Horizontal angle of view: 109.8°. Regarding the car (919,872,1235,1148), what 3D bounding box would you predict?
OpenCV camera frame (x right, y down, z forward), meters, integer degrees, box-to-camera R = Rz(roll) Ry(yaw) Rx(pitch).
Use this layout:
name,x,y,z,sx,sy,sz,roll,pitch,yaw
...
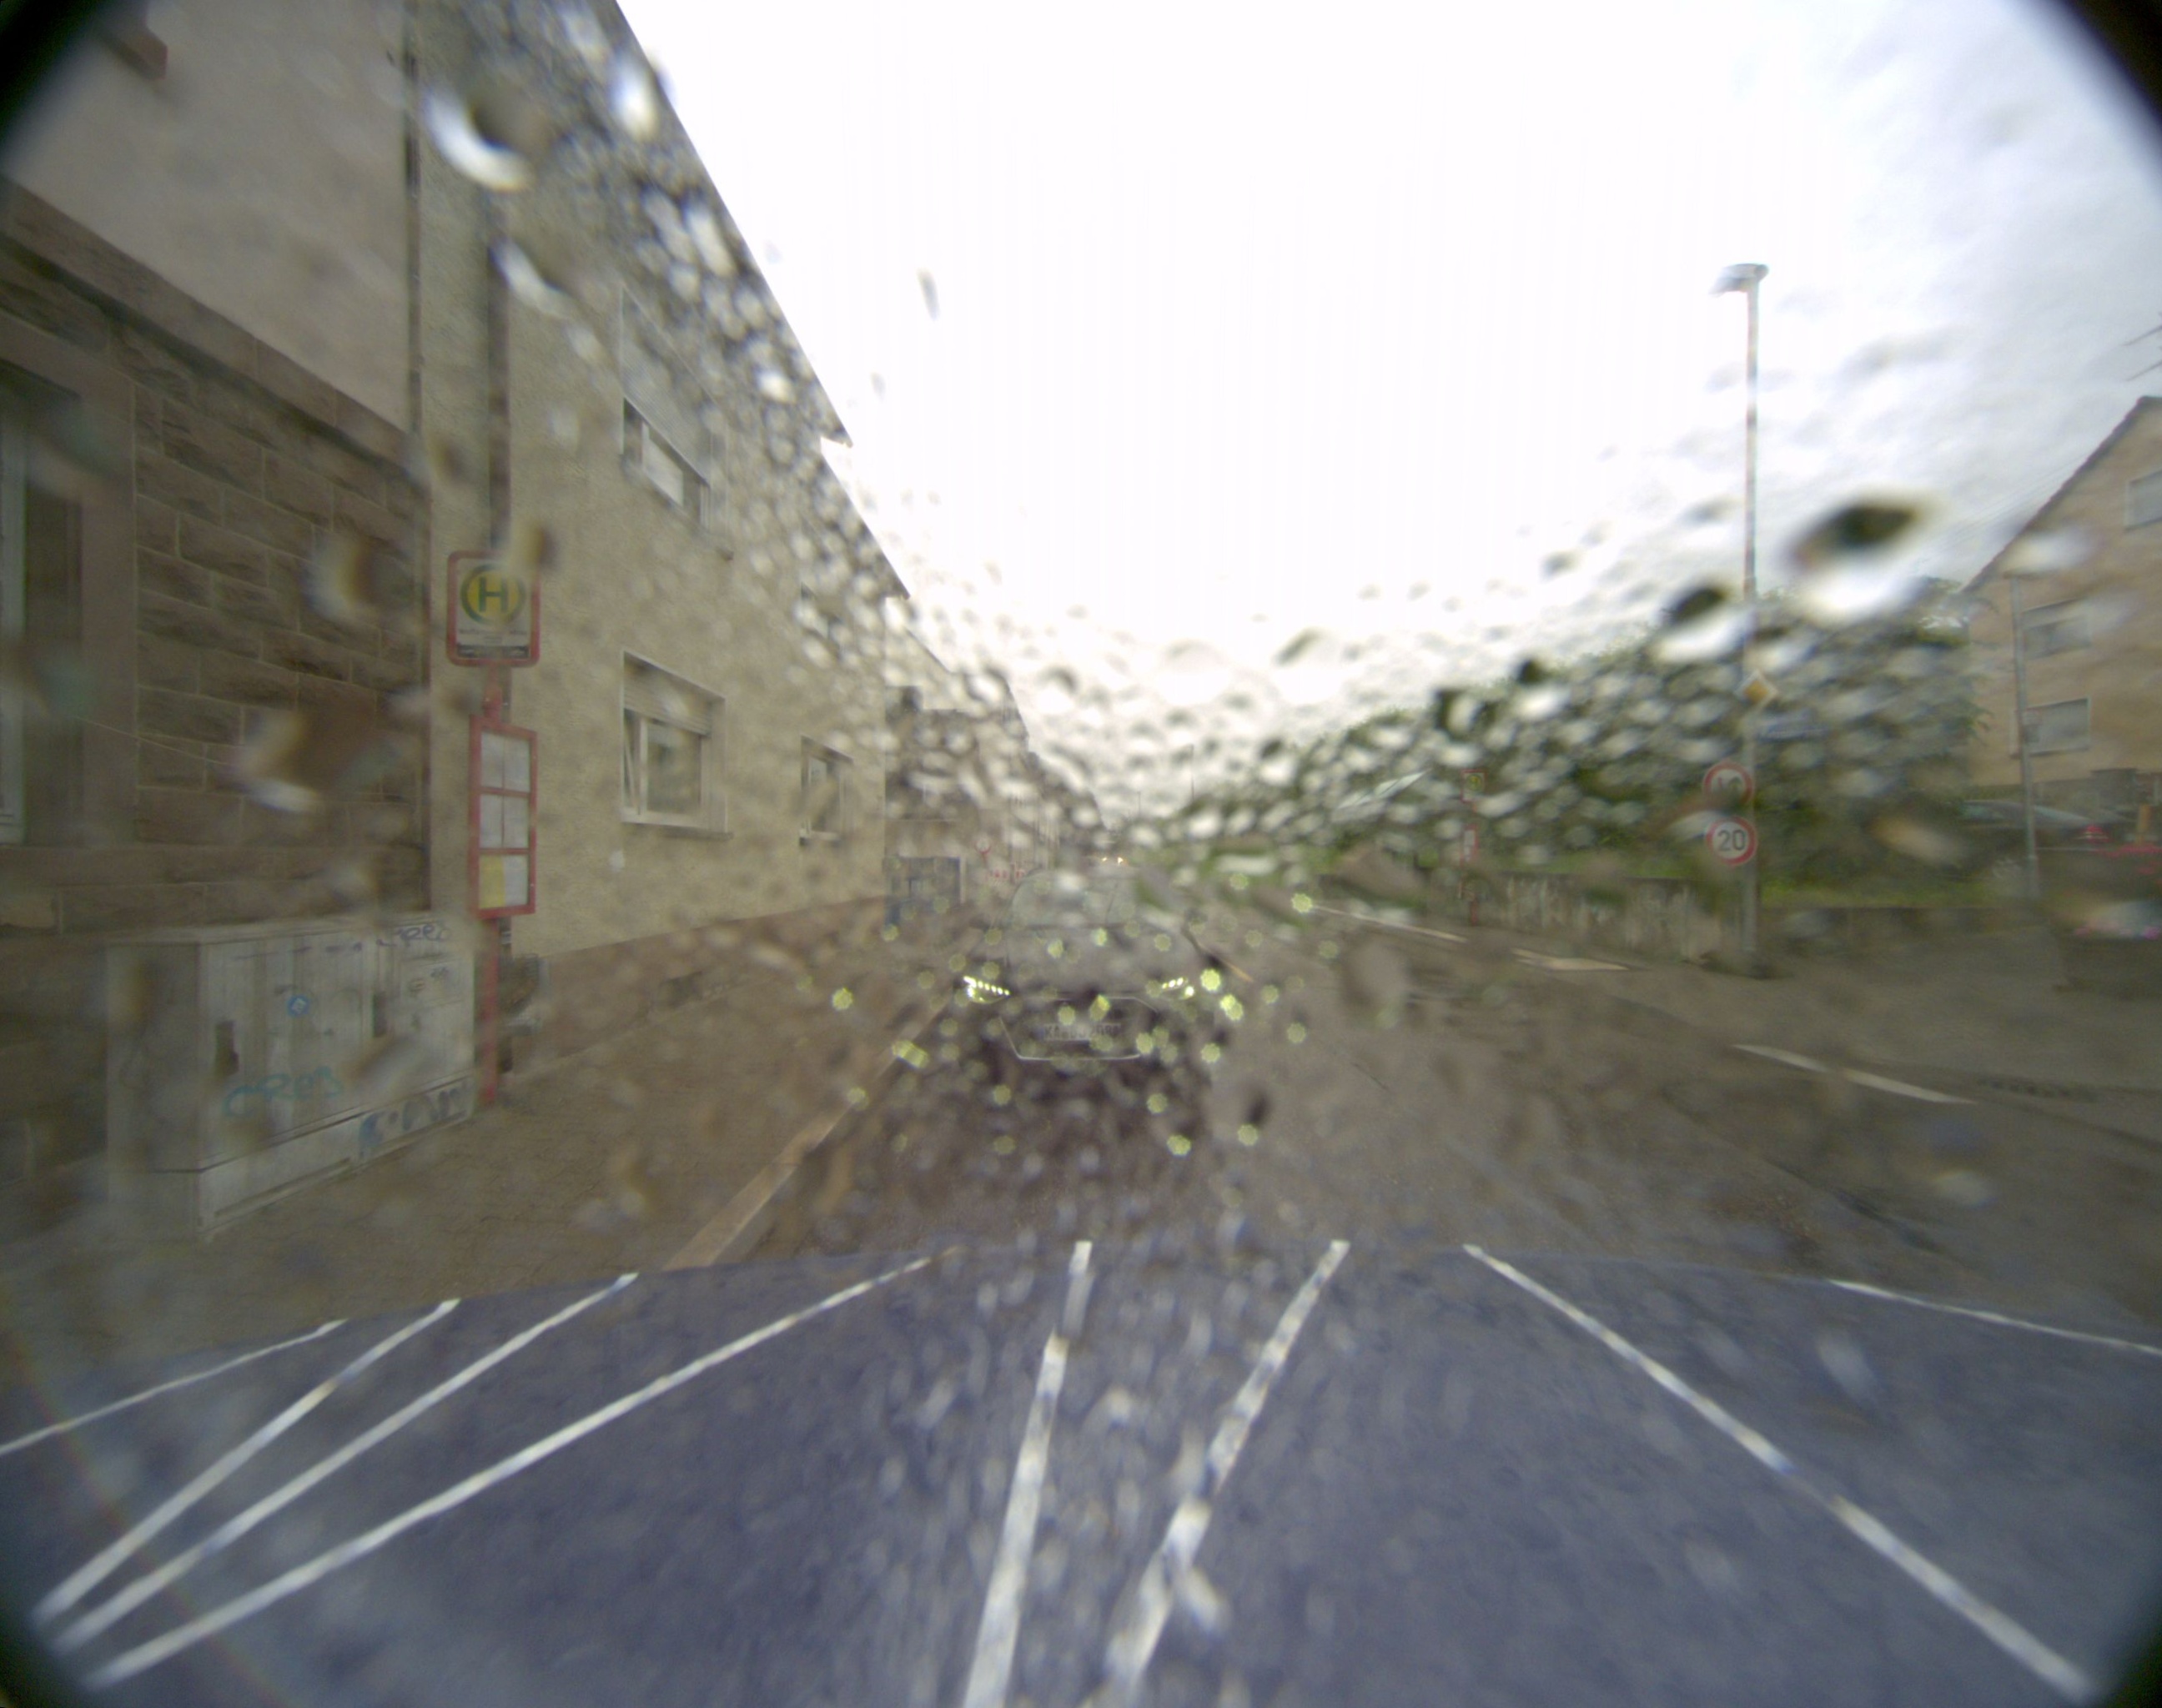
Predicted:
name,x,y,z,sx,sy,sz,roll,pitch,yaw
car,0.000,0.982,6.781,1.851,1.444,4.531,1,1,1

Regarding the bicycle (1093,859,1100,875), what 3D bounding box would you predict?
name,x,y,z,sx,sy,sz,roll,pitch,yaw
bicycle,1.065,0.895,52.193,0.407,1.023,1.221,1,1,2

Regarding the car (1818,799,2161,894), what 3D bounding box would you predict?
name,x,y,z,sx,sy,sz,roll,pitch,yaw
car,15.908,-0.220,13.381,1.749,1.382,4.220,-1,3,0

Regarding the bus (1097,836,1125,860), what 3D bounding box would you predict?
name,x,y,z,sx,sy,sz,roll,pitch,yaw
bus,4.057,-0.873,105.310,2.686,2.987,14.540,1,1,-2

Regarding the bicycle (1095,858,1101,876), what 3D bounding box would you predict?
name,x,y,z,sx,sy,sz,roll,pitch,yaw
bicycle,1.123,0.872,49.957,0.407,1.137,1.221,1,1,2
